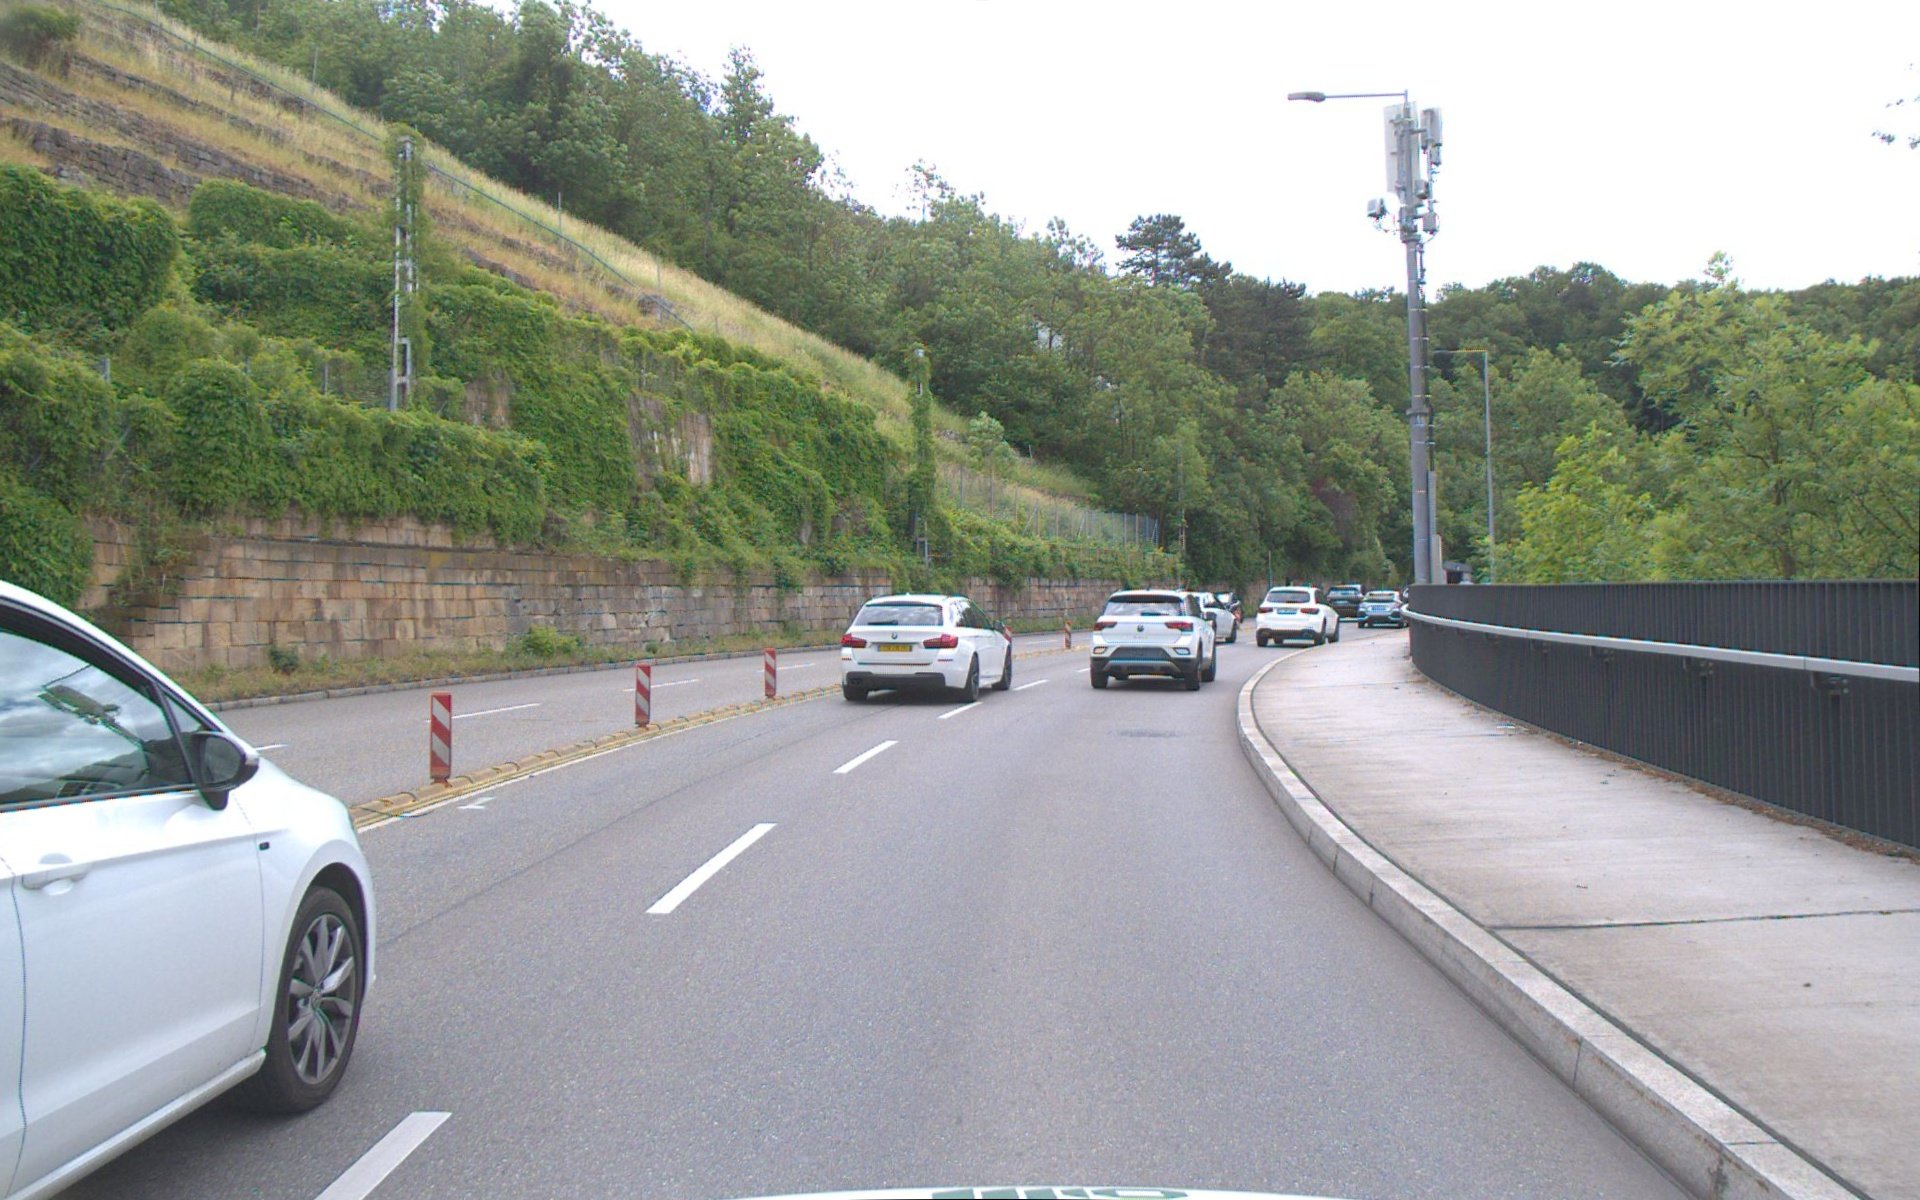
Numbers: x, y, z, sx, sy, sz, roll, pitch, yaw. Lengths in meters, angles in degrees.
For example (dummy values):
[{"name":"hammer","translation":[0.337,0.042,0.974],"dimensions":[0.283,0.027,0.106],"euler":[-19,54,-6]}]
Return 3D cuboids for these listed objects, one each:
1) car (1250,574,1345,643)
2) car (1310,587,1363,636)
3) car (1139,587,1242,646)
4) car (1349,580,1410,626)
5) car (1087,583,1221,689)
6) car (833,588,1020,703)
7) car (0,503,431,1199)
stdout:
[{"name":"car","translation":[9.493,0.247,46.313],"dimensions":[1.952,1.748,4.114],"euler":[-3,-1,20]},{"name":"car","translation":[17.078,0.513,74.876],"dimensions":[1.951,2.049,4.002],"euler":[-3,-1,17]},{"name":"car","translation":[6.618,0.423,47.130],"dimensions":[1.952,1.529,4.668],"euler":[1,1,20]},{"name":"car","translation":[16.625,0.124,65.417],"dimensions":[1.952,1.747,4.001],"euler":[0,0,20]},{"name":"car","translation":[3.306,0.543,27.562],"dimensions":[1.789,1.634,4.003],"euler":[0,0,13]},{"name":"car","translation":[-0.370,0.585,24.069],"dimensions":[1.789,1.485,4.490],"euler":[1,0,11]},{"name":"car","translation":[-2.626,0.619,3.203],"dimensions":[1.784,1.608,4.356],"euler":[1,0,0]}]
